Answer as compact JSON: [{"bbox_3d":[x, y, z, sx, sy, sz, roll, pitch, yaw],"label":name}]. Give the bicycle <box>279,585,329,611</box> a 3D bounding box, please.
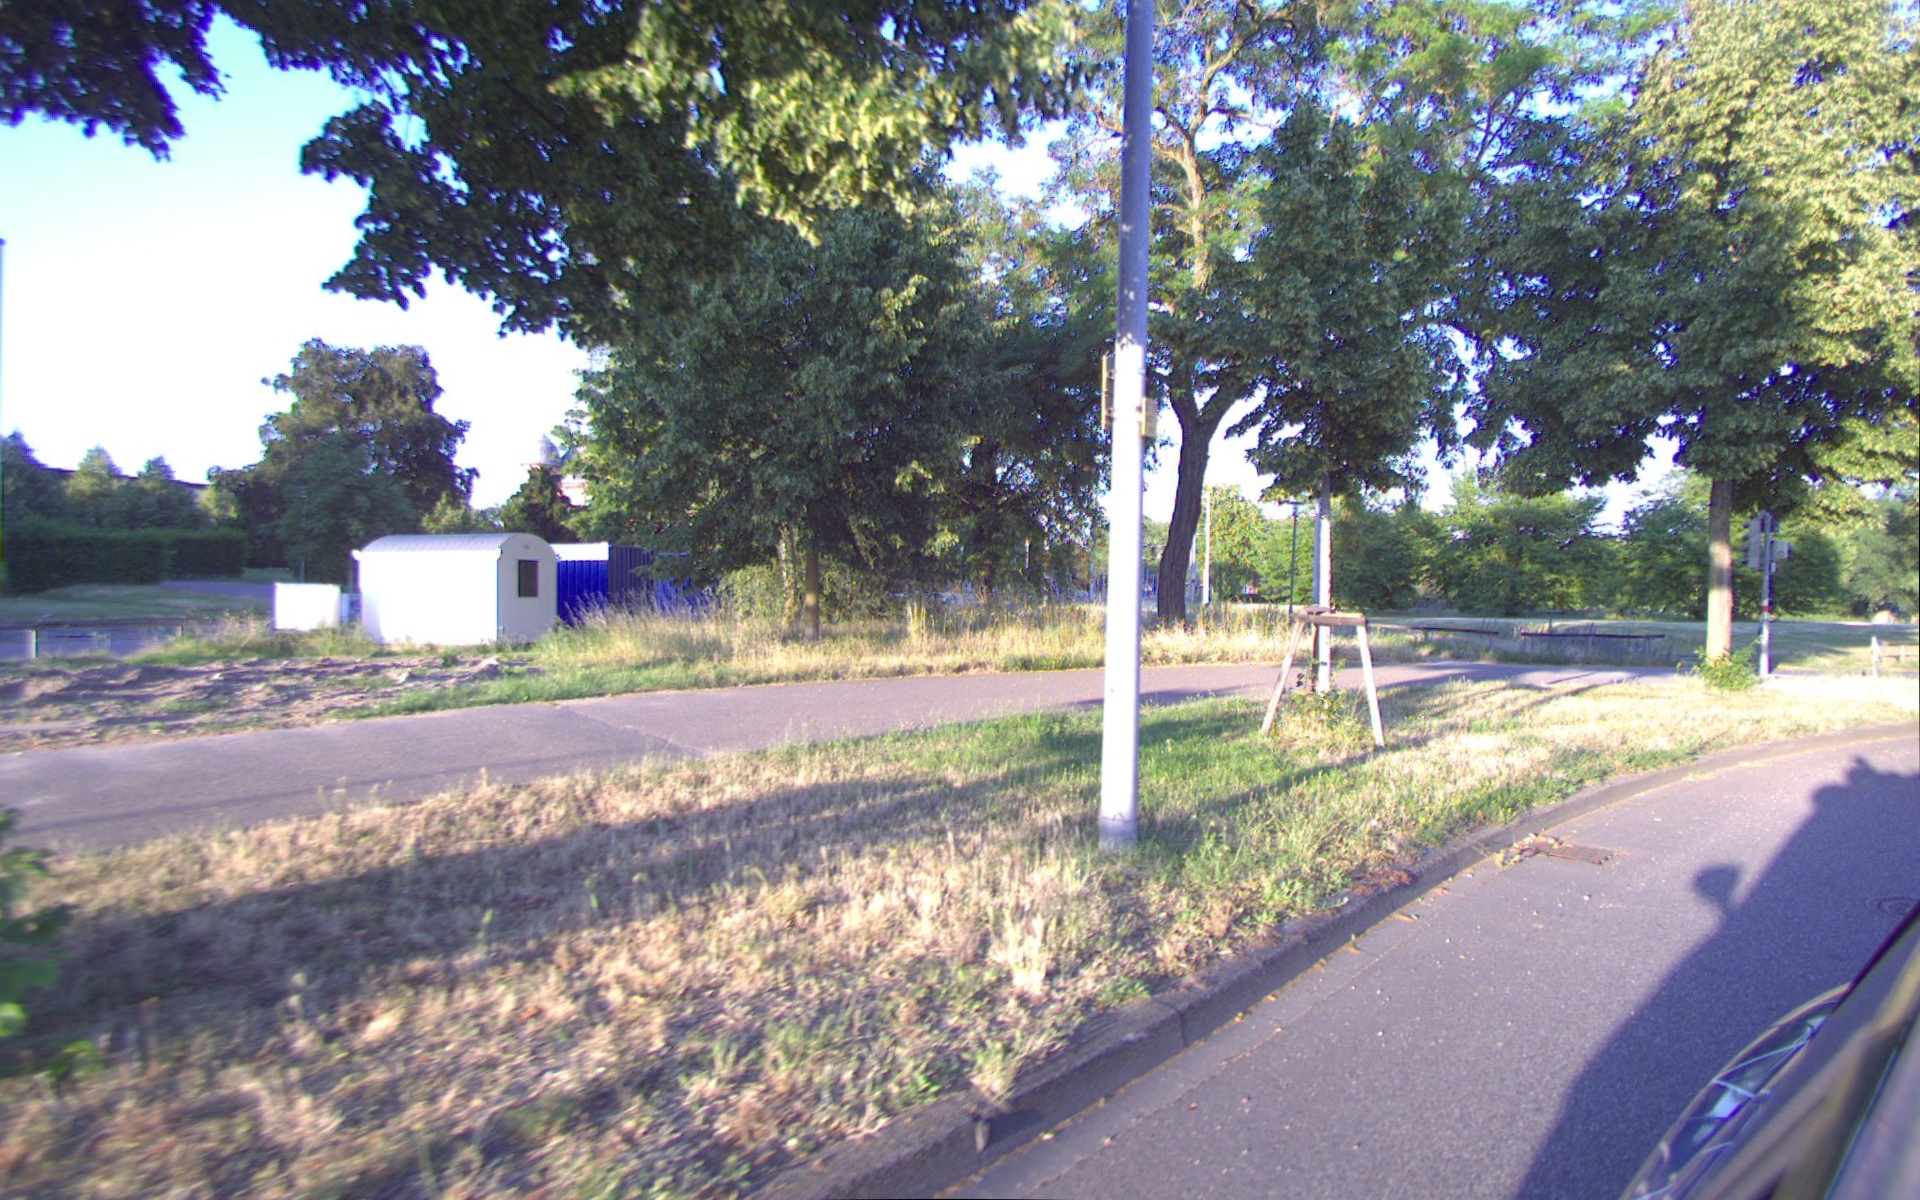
[{"bbox_3d":[-24.680,-0.090,38.069,1.821,0.890,0.404,3,1,14],"label":"bicycle"}]
